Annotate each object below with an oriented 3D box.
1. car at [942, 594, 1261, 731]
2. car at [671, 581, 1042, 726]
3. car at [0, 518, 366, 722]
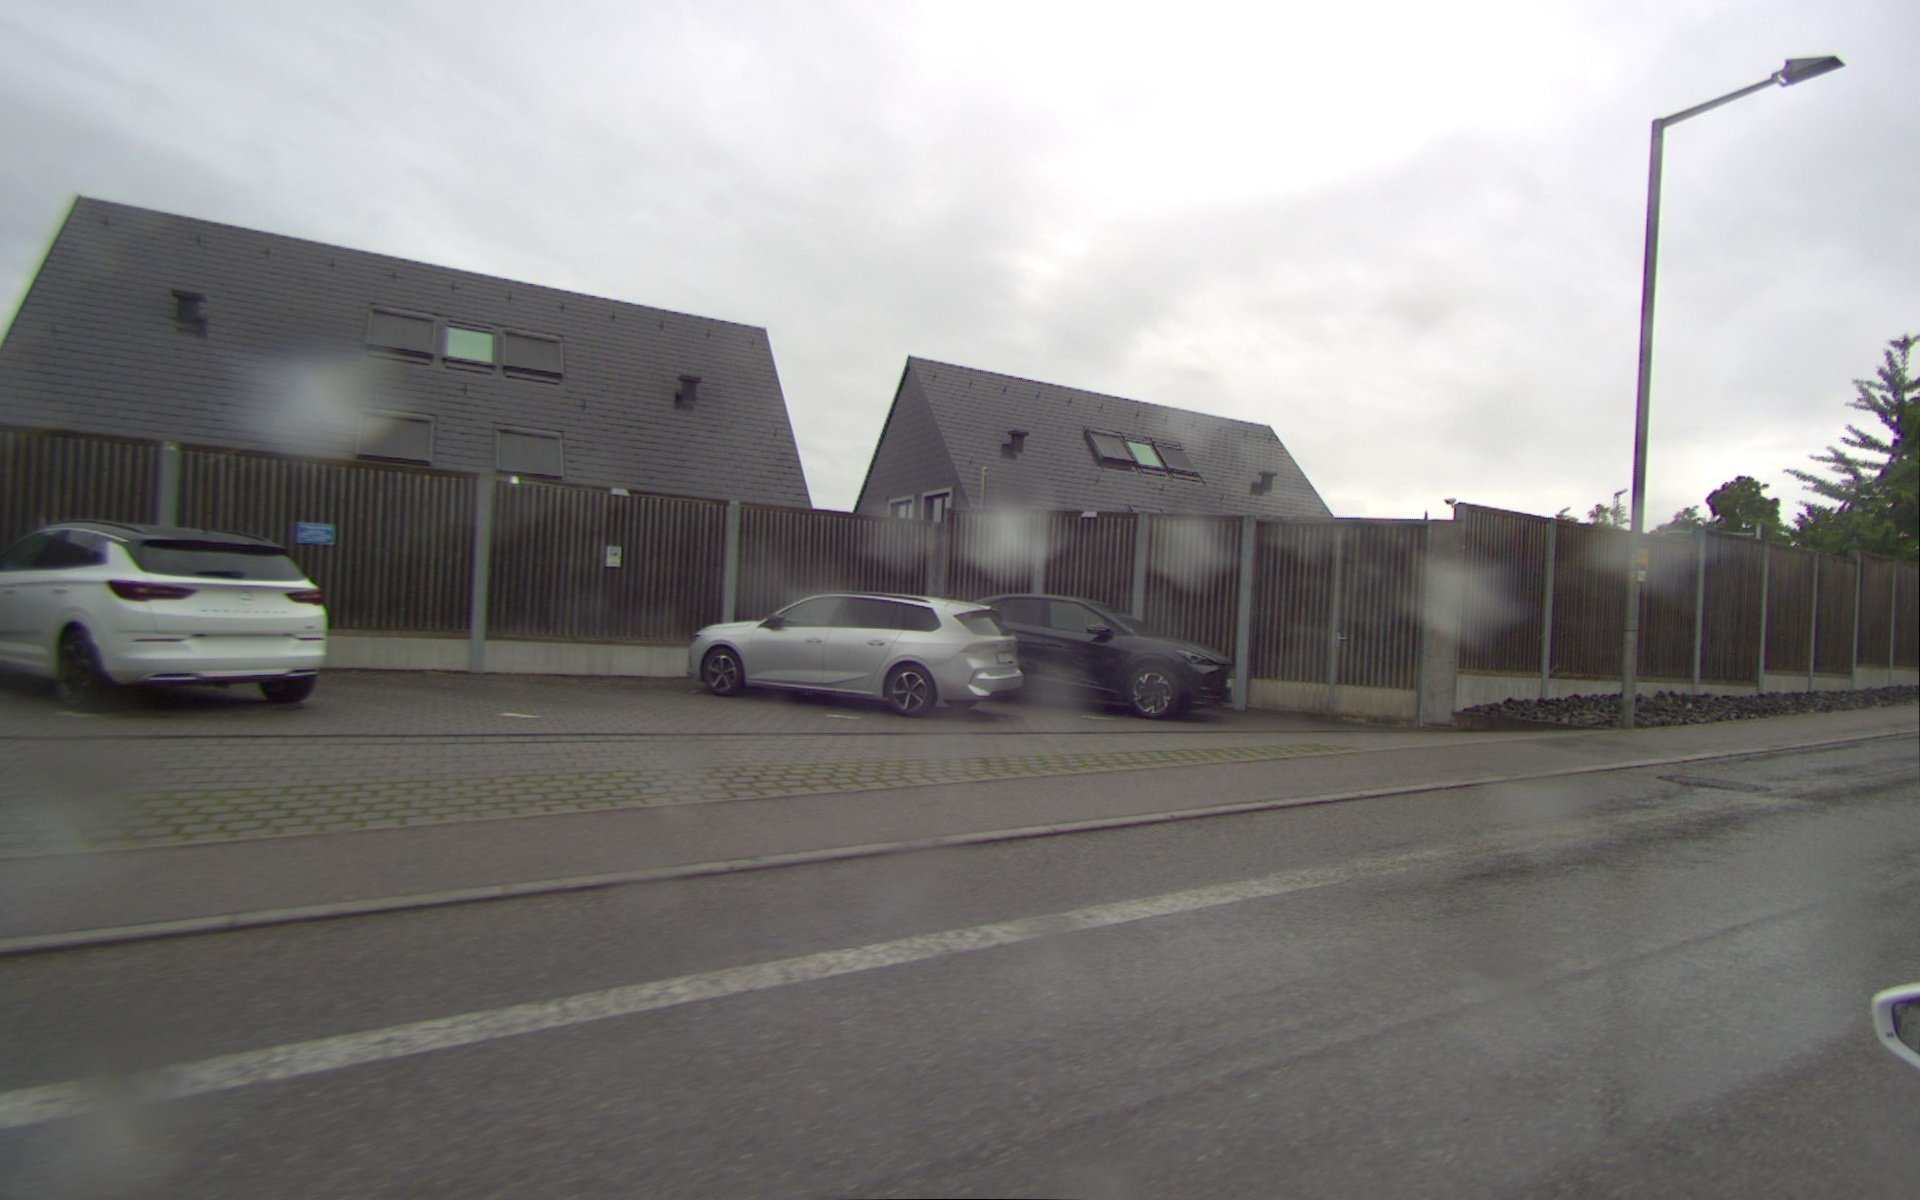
[{"bbox_3d":[2.049,0.801,14.664,4.213,1.622,1.836,2,1,26],"label":"car"},{"bbox_3d":[-1.344,0.594,13.058,4.445,1.461,1.761,3,1,21],"label":"car"},{"bbox_3d":[-7.895,0.094,9.653,3.983,1.595,1.940,2,1,28],"label":"car"}]
